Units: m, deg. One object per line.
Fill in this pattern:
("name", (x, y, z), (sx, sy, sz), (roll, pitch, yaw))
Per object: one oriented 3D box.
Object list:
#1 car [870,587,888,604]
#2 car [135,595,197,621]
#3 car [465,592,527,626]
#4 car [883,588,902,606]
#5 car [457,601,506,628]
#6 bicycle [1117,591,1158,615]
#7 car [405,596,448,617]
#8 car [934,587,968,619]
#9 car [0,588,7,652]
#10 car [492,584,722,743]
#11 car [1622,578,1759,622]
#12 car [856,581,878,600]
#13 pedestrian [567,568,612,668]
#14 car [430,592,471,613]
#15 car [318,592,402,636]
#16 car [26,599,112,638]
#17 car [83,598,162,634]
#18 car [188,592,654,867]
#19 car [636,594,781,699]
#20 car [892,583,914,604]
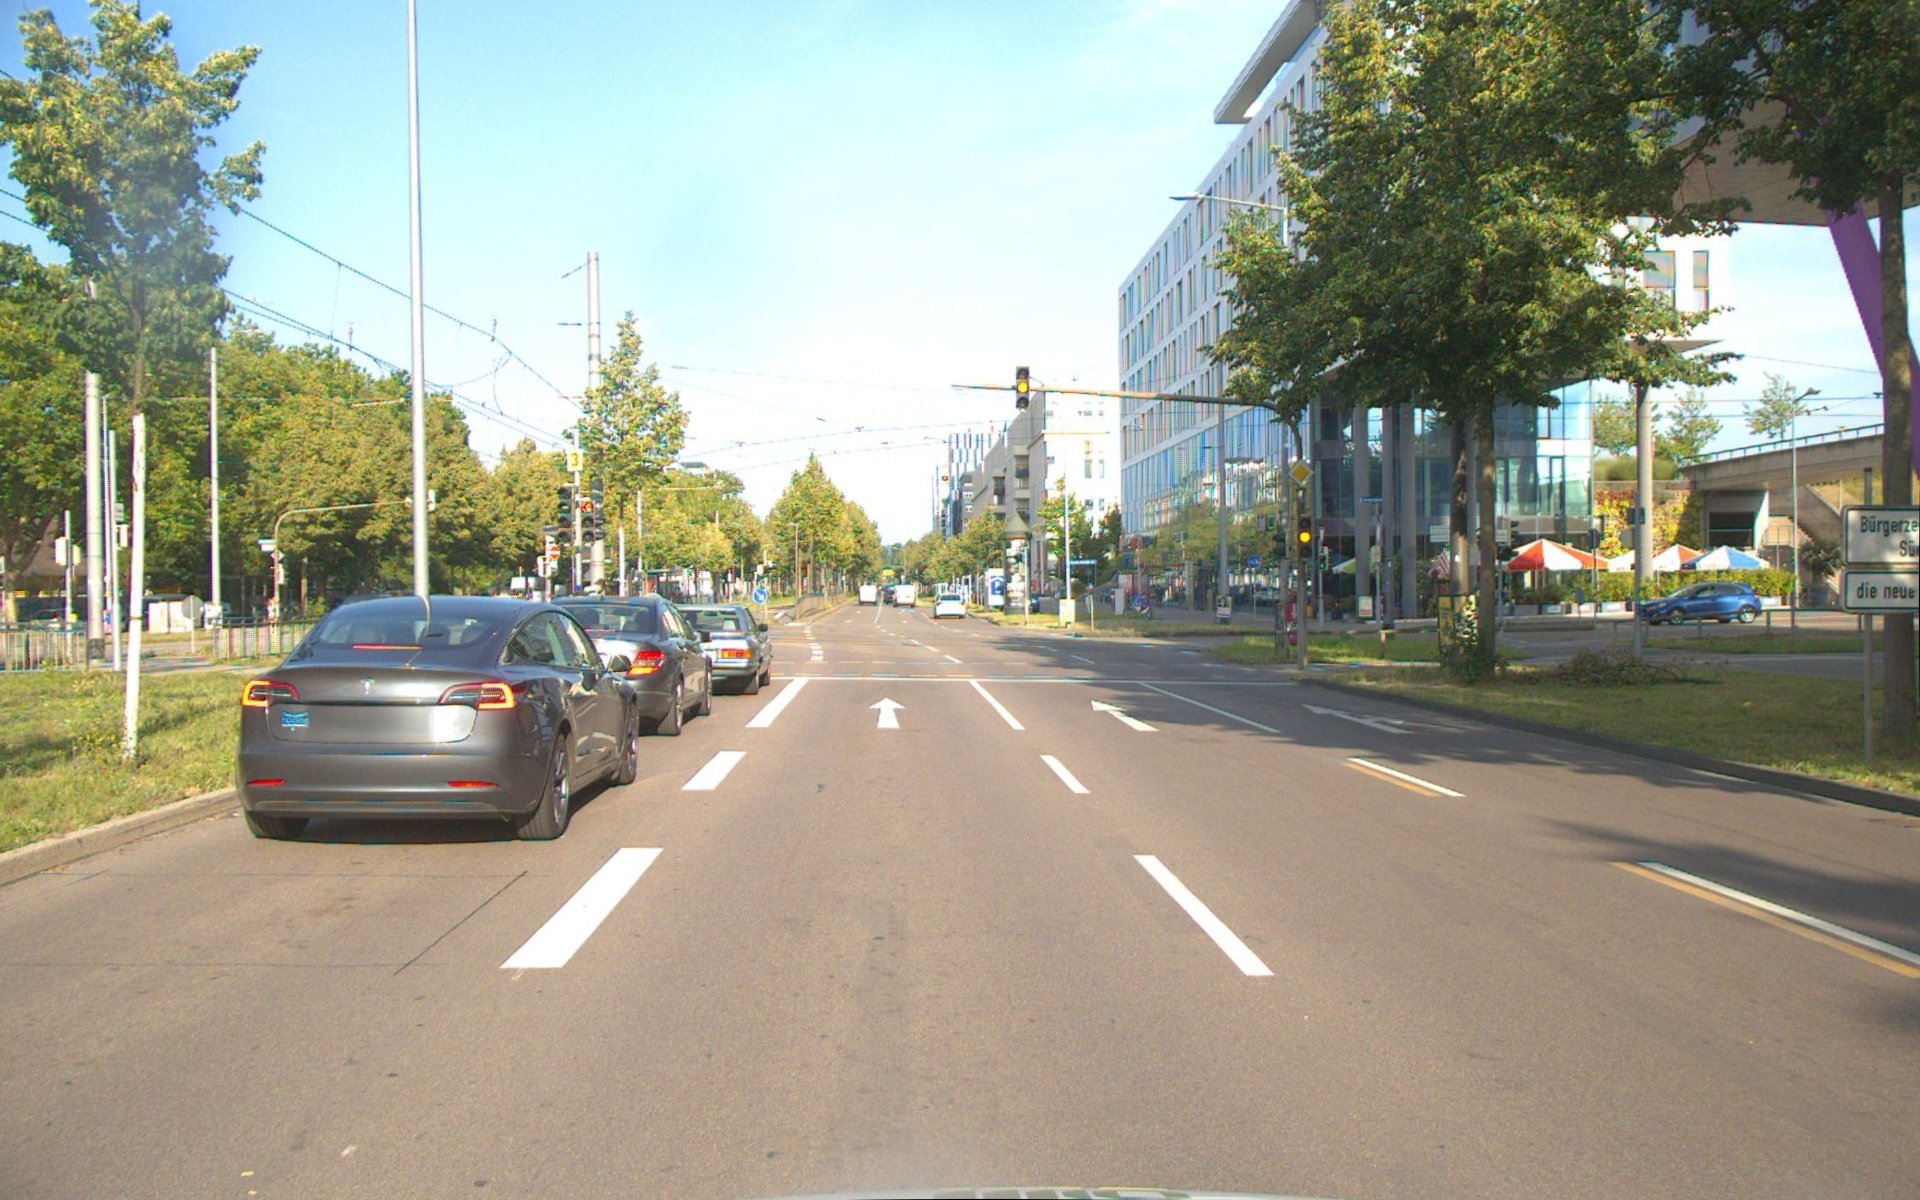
("car", (-8.849, -0.488, 181.185), (1.886, 1.713, 3.997), (1, 1, -4))
("car", (-50.317, 0.498, 104.891), (1.842, 1.586, 4.001), (-1, 0, 3))
("car", (-22.145, 0.442, 79.085), (1.954, 1.530, 4.090), (-1, -1, -3))
("car", (-6.838, -0.318, 166.971), (1.885, 1.713, 3.999), (1, 1, -2))
("car", (-29.012, 0.856, 100.337), (1.839, 1.554, 4.222), (-1, 1, -2))
("bicycle", (8.551, 0.133, 79.750), (1.847, 1.050, 0.768), (3, 3, 44))
("car", (-41.260, 0.508, 128.019), (1.842, 1.586, 4.001), (-1, 0, 3))
("car", (-0.549, 0.168, 94.724), (1.826, 1.713, 3.999), (1, 1, -2))
("car", (-24.205, 0.532, 38.350), (1.954, 1.554, 4.308), (-1, 1, -5))
("car", (-3.747, 0.598, 18.289), (1.751, 1.504, 4.352), (1, 1, -2))
("car", (26.285, -0.021, 59.576), (4.101, 1.448, 1.858), (-2, 1, -4))
("car", (-8.768, -0.878, 155.856), (1.974, 1.713, 3.999), (1, 1, -2))
("pedestrian", (-6.845, 0.331, 30.602), (0.685, 1.823, 0.635), (1, 0, -2))
("car", (-40.990, 0.179, 133.115), (1.842, 1.586, 4.001), (-1, 0, 3))
("car", (-25.174, 0.568, 69.579), (1.954, 1.714, 4.992), (-1, 1, -3))
("car", (-42.872, 0.861, 79.675), (1.842, 1.780, 4.001), (-1, 0, 3))
("car", (-42.733, 0.795, 84.445), (1.842, 1.780, 4.001), (-1, 0, 3))
("car", (-3.298, 0.693, 11.077), (1.852, 1.410, 4.332), (1, 1, -3))
("car", (-3.686, 0.634, 24.861), (1.729, 1.353, 4.397), (1, 1, -3))
("car", (-4.818, -0.541, 140.304), (1.826, 1.713, 3.999), (1, 1, -2))
